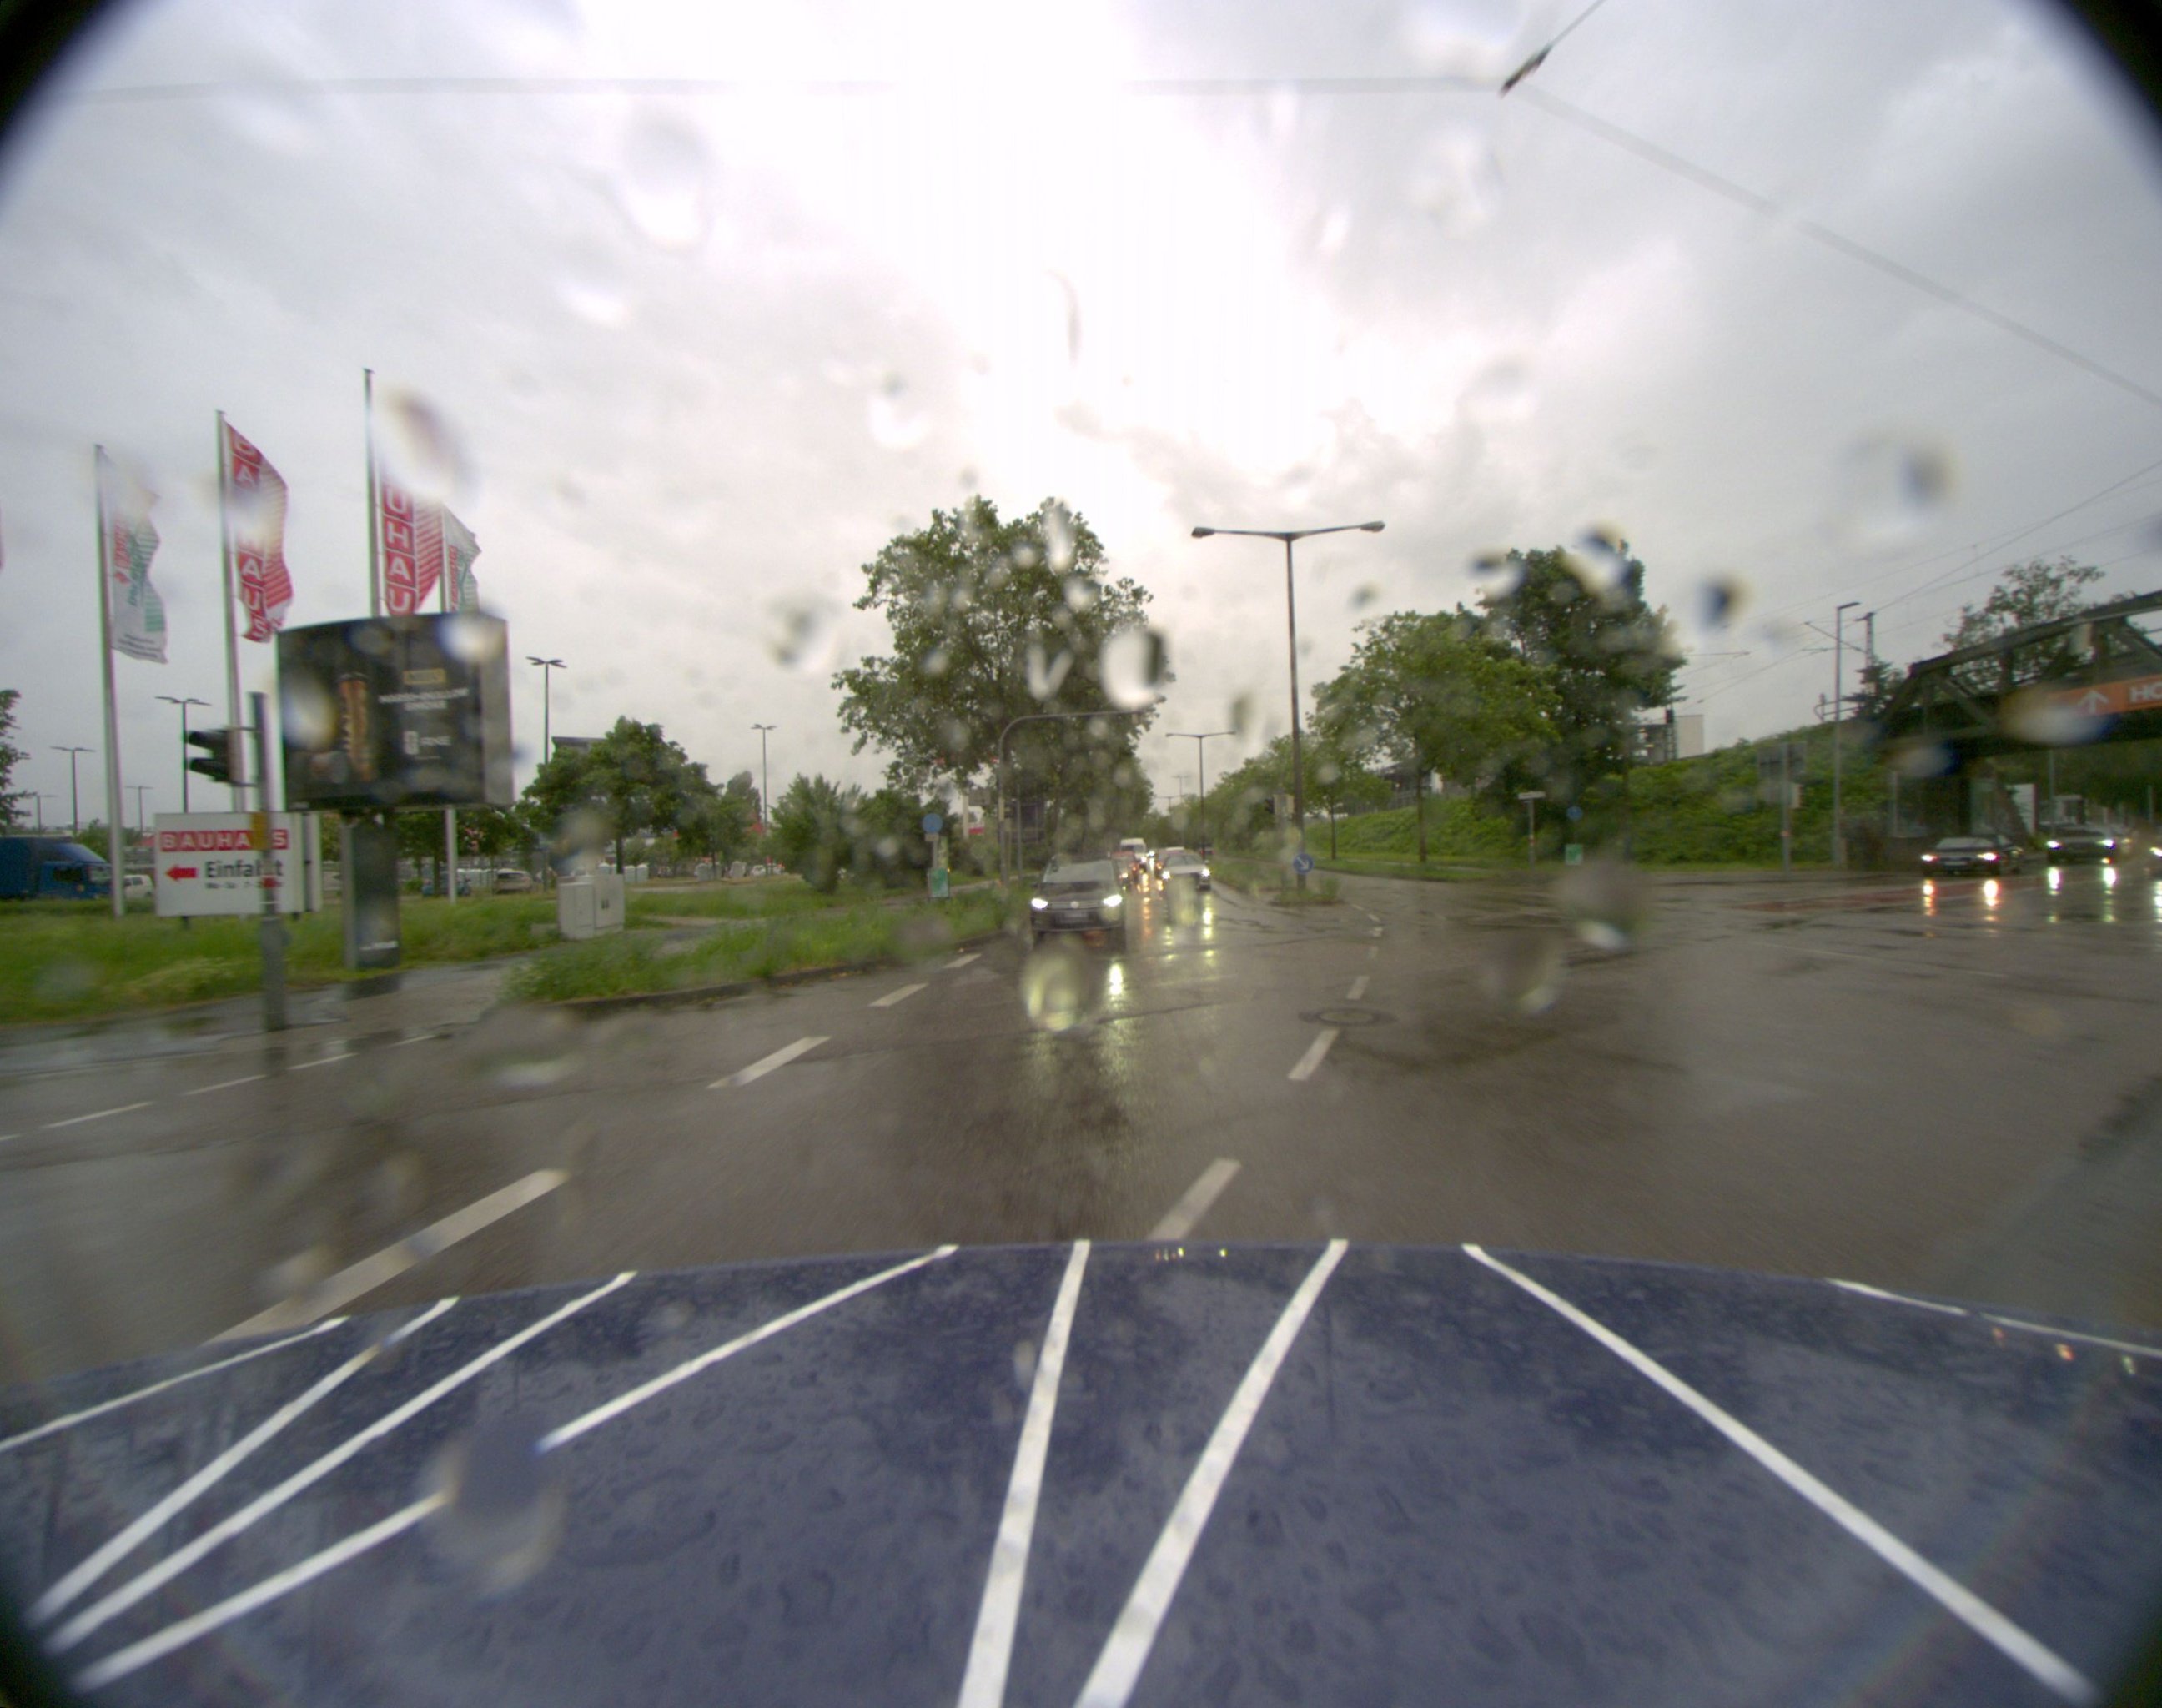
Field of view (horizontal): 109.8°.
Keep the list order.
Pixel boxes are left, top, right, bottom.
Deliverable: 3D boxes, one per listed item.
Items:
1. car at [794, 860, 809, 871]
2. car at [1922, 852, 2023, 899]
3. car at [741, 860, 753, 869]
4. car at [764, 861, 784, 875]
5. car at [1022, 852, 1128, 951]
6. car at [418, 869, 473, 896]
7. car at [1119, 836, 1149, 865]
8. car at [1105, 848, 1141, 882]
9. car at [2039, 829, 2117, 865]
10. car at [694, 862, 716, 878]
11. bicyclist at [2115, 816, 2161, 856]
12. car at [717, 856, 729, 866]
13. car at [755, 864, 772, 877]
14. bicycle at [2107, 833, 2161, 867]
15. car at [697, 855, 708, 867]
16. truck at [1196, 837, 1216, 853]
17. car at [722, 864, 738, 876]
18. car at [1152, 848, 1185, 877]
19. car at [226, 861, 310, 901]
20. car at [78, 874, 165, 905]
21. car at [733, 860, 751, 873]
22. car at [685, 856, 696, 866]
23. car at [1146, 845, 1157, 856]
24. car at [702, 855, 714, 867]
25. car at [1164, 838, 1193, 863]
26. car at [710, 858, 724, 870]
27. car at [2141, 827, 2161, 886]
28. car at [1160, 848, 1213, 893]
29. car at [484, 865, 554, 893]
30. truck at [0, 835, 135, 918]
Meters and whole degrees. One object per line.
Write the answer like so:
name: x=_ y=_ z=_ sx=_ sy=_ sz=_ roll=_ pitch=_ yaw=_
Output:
car: x=-43.812 y=1.828 z=119.066 sx=1.932 sy=1.543 sz=4.265 roll=-2 pitch=1 yaw=-24
car: x=31.190 y=0.714 z=26.569 sx=4.154 sy=1.425 sz=1.689 roll=-2 pitch=0 yaw=-32
car: x=-61.236 y=1.924 z=139.449 sx=1.932 sy=1.543 sz=4.265 roll=-2 pitch=1 yaw=-24
car: x=-35.598 y=1.588 z=88.087 sx=1.932 sy=1.543 sz=4.265 roll=-2 pitch=1 yaw=-24
car: x=0.026 y=0.848 z=15.878 sx=1.770 sy=1.596 sz=4.627 roll=-4 pitch=1 yaw=4
car: x=-33.882 y=1.482 z=40.622 sx=1.872 sy=1.285 sz=4.039 roll=-2 pitch=1 yaw=-35
car: x=4.102 y=-0.329 z=58.243 sx=1.998 sy=2.002 sz=5.133 roll=-4 pitch=1 yaw=6
car: x=2.447 y=0.602 z=43.553 sx=1.831 sy=1.737 sz=4.148 roll=-4 pitch=0 yaw=5
car: x=44.091 y=-0.308 z=33.577 sx=4.154 sy=1.425 sz=1.689 roll=-2 pitch=0 yaw=-32
car: x=-40.839 y=1.703 z=82.426 sx=1.932 sy=1.543 sz=4.263 roll=-3 pitch=1 yaw=-28
bicyclist: x=39.952 y=-0.688 z=28.573 sx=1.058 sy=1.475 sz=1.150 roll=-2 pitch=1 yaw=-29
car: x=-70.103 y=1.366 z=148.677 sx=1.932 sy=1.716 sz=4.265 roll=-2 pitch=1 yaw=-24
car: x=-41.227 y=2.141 z=98.663 sx=1.932 sy=1.543 sz=4.265 roll=-2 pitch=1 yaw=-24
bicycle: x=39.967 y=-0.178 z=28.585 sx=3.455 sy=1.197 sz=1.197 roll=-2 pitch=1 yaw=-29
car: x=-81.592 y=1.574 z=163.867 sx=1.932 sy=2.465 sz=4.265 roll=-2 pitch=1 yaw=-24
truck: x=20.143 y=-1.445 z=122.755 sx=2.480 sy=2.351 sz=6.868 roll=-2 pitch=1 yaw=3
car: x=-51.659 y=2.351 z=111.896 sx=1.932 sy=1.543 sz=4.265 roll=-2 pitch=1 yaw=-24
car: x=5.068 y=0.444 z=44.226 sx=1.723 sy=1.456 sz=4.093 roll=-4 pitch=0 yaw=6
car: x=-52.808 y=1.675 z=49.508 sx=2.335 sy=2.348 sz=5.502 roll=-3 pitch=1 yaw=-33
car: x=-67.788 y=2.452 z=53.815 sx=2.058 sy=1.884 sz=4.783 roll=-3 pitch=1 yaw=-29
car: x=-43.402 y=1.604 z=97.326 sx=1.932 sy=1.543 sz=4.265 roll=-2 pitch=1 yaw=-24
car: x=-90.481 y=1.616 z=176.095 sx=1.932 sy=2.090 sz=4.265 roll=-2 pitch=1 yaw=-24
car: x=11.938 y=-0.584 z=129.064 sx=1.724 sy=1.674 sz=3.728 roll=-4 pitch=1 yaw=5
car: x=-77.925 y=1.508 z=158.664 sx=1.932 sy=2.465 sz=4.265 roll=-2 pitch=1 yaw=-24
car: x=7.021 y=-0.288 z=54.996 sx=1.831 sy=1.603 sz=4.148 roll=-4 pitch=0 yaw=5
car: x=-60.568 y=1.715 z=126.513 sx=1.932 sy=1.887 sz=4.740 roll=-2 pitch=1 yaw=-23
car: x=32.066 y=0.025 z=21.725 sx=3.915 sy=1.591 sz=1.651 roll=-2 pitch=1 yaw=-30
car: x=4.188 y=0.612 z=30.878 sx=1.773 sy=1.565 sz=4.822 roll=-4 pitch=0 yaw=5
car: x=-30.645 y=1.331 z=41.585 sx=1.870 sy=1.285 sz=4.043 roll=-2 pitch=1 yaw=-18
truck: x=-47.409 y=1.047 z=32.634 sx=8.028 sy=3.449 sz=2.547 roll=-2 pitch=0 yaw=-30
